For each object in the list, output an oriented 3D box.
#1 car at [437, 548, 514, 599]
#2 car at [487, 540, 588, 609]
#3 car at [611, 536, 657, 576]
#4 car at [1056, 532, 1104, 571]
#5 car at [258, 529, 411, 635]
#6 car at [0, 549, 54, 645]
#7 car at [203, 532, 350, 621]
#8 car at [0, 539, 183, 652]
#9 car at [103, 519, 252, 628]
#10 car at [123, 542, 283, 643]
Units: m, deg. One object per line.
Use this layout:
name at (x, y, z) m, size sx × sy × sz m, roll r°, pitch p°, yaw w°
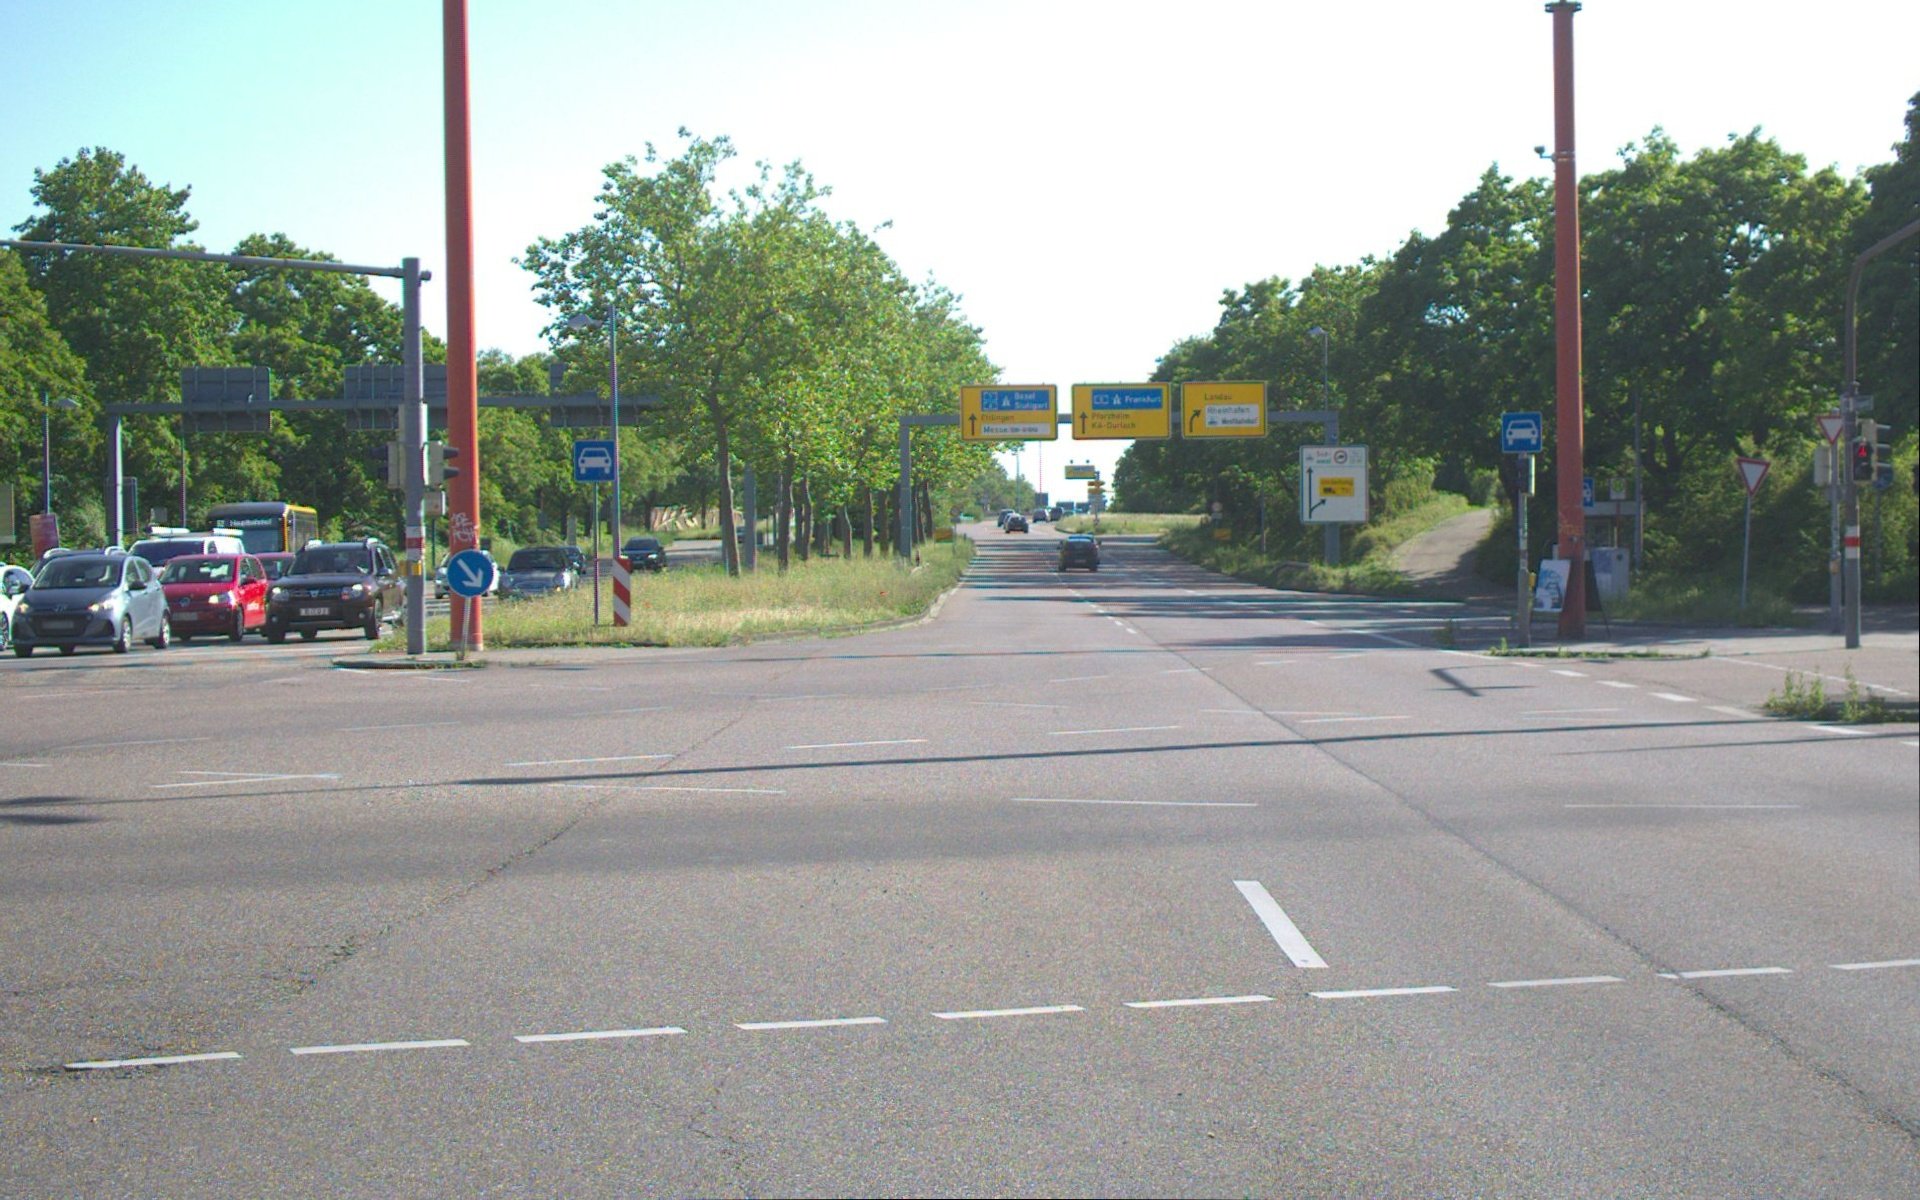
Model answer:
car at (-15.529, -0.870, 110.370) m, size 1.885 × 1.538 × 4.000 m, roll -2°, pitch 1°, yaw -1°
car at (-9.909, -0.616, 80.841) m, size 1.885 × 1.538 × 4.000 m, roll -2°, pitch 1°, yaw -1°
car at (-15.327, -2.067, 161.882) m, size 1.837 × 1.831 × 3.961 m, roll -1°, pitch 1°, yaw -1°
car at (5.494, -2.197, 157.342) m, size 1.993 × 1.727 × 4.000 m, roll 1°, pitch 1°, yaw -1°
car at (-10.210, -0.326, 56.365) m, size 1.793 × 1.620 × 4.144 m, roll -2°, pitch 1°, yaw -1°
car at (-16.529, -0.048, 57.281) m, size 1.901 × 1.549 × 4.000 m, roll -2°, pitch 1°, yaw -2°
car at (-12.802, -0.452, 64.624) m, size 1.901 × 1.624 × 4.000 m, roll 0°, pitch 1°, yaw 1°
car at (-13.215, -0.097, 52.289) m, size 1.874 × 1.545 × 4.028 m, roll -2°, pitch 1°, yaw -1°
car at (-16.064, -0.566, 70.828) m, size 1.961 × 2.147 × 5.082 m, roll -1°, pitch 1°, yaw -1°
car at (-12.864, -0.157, 58.627) m, size 1.875 × 1.547 × 4.000 m, roll -4°, pitch 1°, yaw -2°
